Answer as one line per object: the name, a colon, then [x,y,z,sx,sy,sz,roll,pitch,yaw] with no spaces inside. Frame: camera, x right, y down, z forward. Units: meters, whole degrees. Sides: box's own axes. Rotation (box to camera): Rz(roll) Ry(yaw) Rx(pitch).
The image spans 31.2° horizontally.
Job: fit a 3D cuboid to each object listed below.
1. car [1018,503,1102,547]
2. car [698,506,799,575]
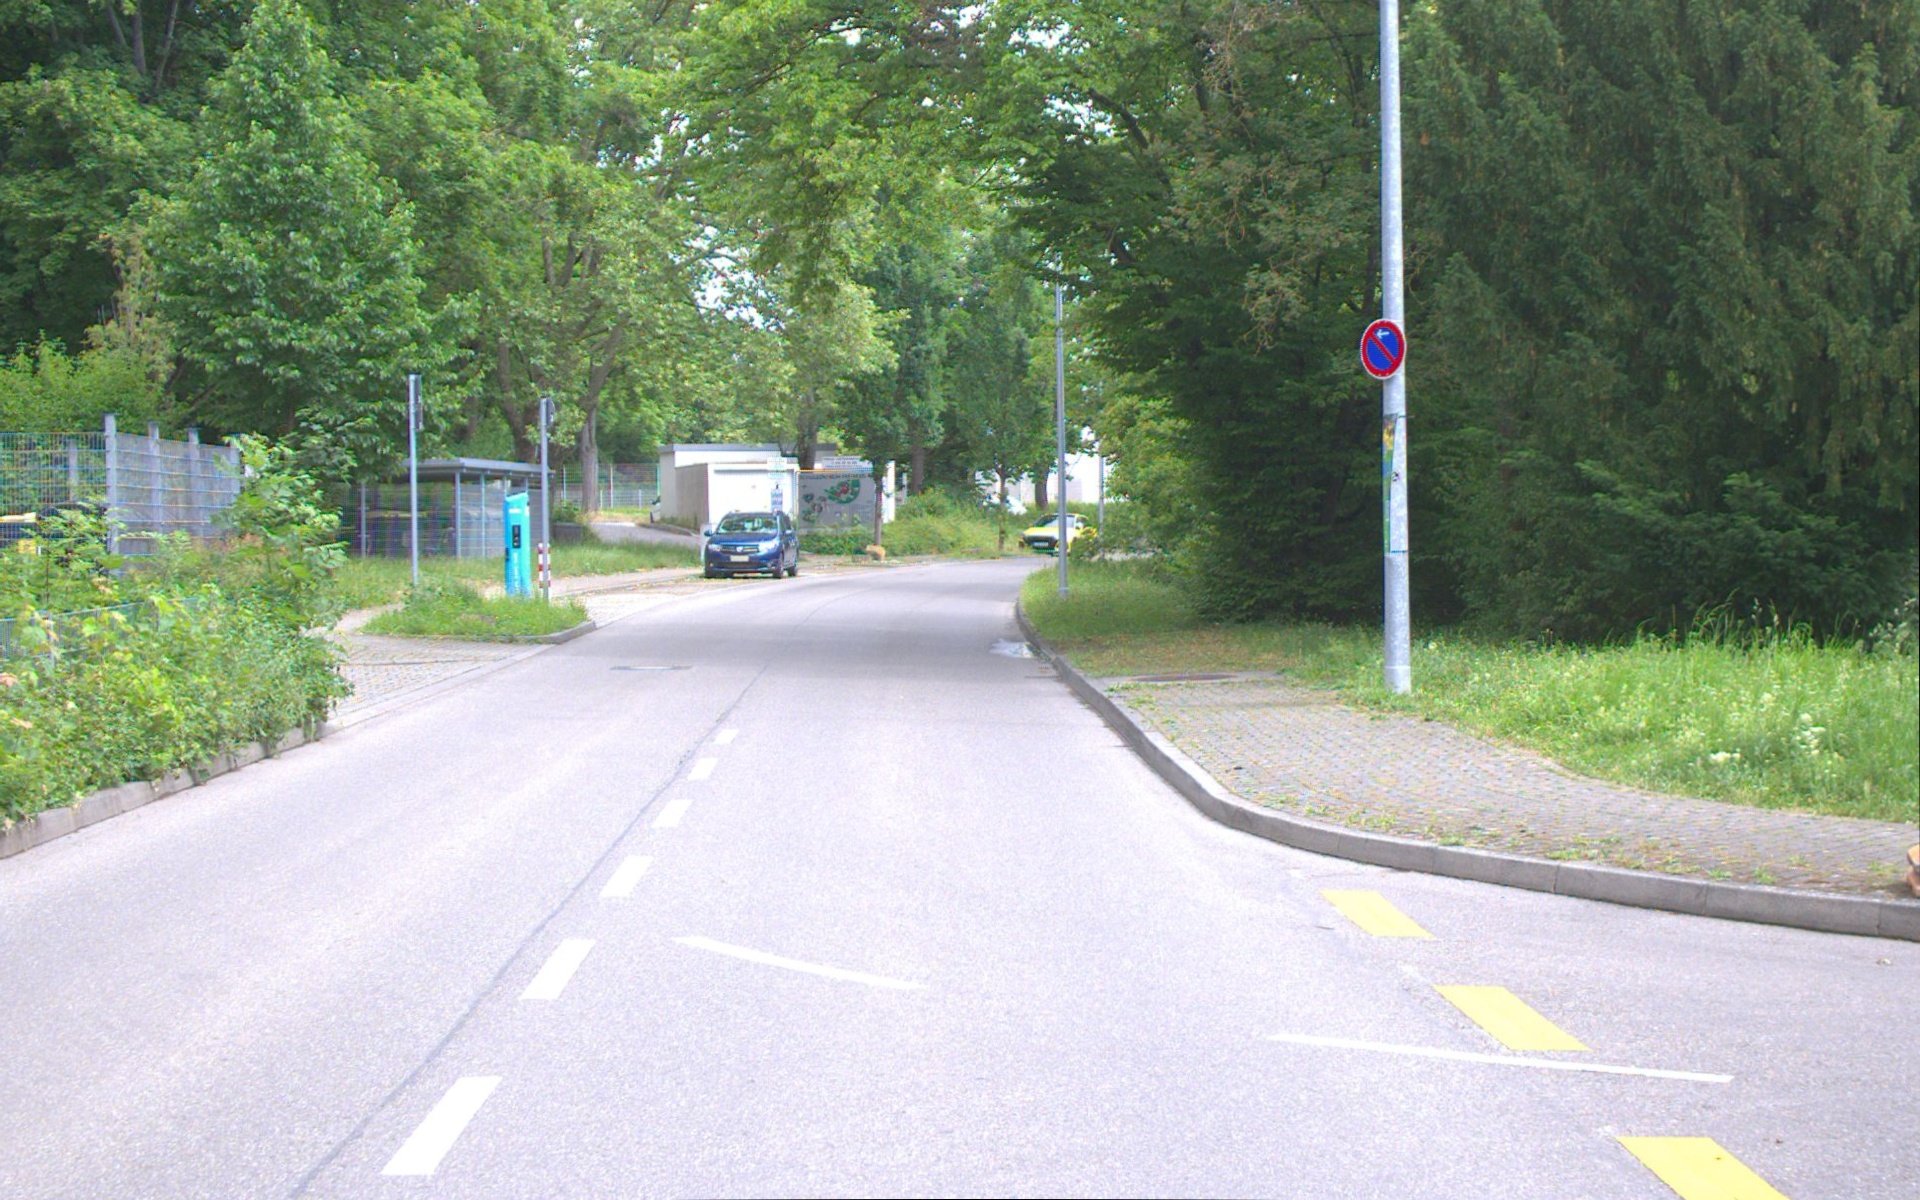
car: [3.357,-2.494,114.884,1.701,1.398,4.270,1,1,17]
car: [-4.734,-1.348,77.411,1.680,1.506,4.431,0,1,4]
